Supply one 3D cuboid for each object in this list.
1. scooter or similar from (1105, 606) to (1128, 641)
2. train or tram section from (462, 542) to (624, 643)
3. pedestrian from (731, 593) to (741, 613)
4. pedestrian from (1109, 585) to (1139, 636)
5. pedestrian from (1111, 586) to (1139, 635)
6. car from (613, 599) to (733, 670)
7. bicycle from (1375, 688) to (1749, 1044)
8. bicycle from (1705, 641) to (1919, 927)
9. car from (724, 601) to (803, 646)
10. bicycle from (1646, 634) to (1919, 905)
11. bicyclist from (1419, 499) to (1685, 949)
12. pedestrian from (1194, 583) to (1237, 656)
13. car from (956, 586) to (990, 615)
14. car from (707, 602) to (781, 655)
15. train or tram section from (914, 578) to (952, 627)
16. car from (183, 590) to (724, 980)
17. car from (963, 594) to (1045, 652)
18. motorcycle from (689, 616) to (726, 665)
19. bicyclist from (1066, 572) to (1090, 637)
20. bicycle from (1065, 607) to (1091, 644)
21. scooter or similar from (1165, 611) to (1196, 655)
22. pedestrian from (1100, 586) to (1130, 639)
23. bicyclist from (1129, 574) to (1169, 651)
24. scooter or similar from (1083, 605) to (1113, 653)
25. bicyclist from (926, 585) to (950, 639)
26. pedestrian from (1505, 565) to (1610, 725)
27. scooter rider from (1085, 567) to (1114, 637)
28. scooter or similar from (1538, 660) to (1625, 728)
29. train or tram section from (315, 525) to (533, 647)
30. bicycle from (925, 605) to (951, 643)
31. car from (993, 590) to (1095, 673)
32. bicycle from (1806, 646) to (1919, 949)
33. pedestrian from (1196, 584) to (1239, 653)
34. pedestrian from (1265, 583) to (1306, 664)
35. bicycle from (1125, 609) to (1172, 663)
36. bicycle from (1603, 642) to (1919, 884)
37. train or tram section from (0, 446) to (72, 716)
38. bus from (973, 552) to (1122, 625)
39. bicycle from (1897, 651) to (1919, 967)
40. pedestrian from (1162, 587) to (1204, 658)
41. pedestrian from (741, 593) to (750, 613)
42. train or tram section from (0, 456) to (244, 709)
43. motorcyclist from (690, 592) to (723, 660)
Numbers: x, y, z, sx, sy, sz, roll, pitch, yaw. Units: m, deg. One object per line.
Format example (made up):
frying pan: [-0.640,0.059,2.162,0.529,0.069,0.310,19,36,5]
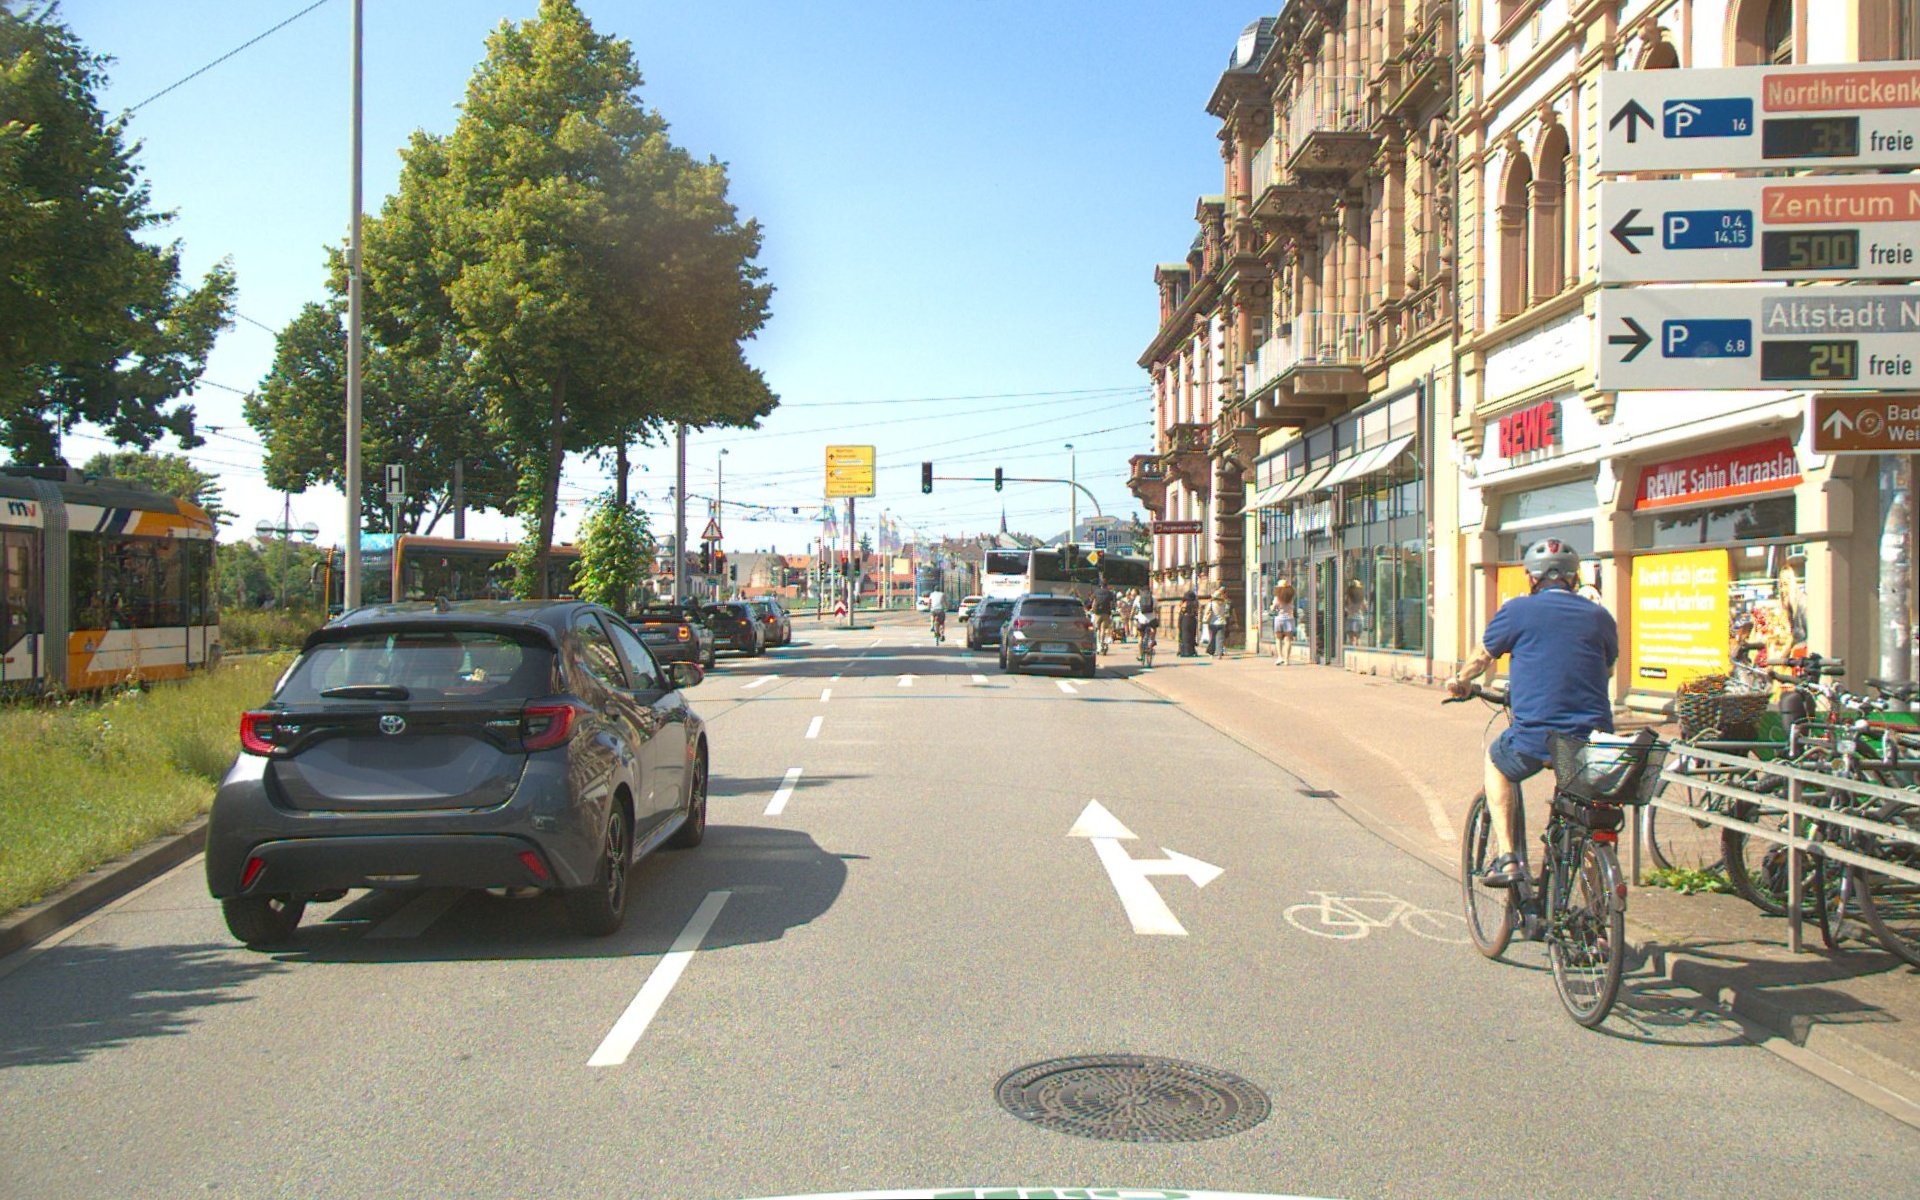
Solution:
scooter or similar: [5.003,0.750,52.822,0.588,1.066,0.799,2,-1,-3]
train or tram section: [-15.947,-0.211,63.939,2.762,3.644,8.232,-1,-1,12]
pedestrian: [-16.177,0.197,119.444,0.546,1.440,0.636,2,-1,-3]
pedestrian: [5.416,0.337,54.692,0.845,1.669,0.875,0,0,-2]
pedestrian: [5.755,0.351,57.701,0.845,1.669,0.875,2,-1,-2]
car: [-6.002,0.711,35.024,1.778,1.355,4.000,2,-1,0]
bicycle: [2.302,0.962,6.610,0.719,1.112,1.910,2,-1,-2]
bicycle: [4.329,0.795,7.447,1.659,1.199,0.608,-1,0,0]
car: [-6.117,0.713,51.926,1.995,1.355,4.000,0,0,0]
bicycle: [4.333,0.800,8.102,1.659,1.199,0.608,-2,0,0]
bicyclist: [2.321,0.463,6.581,0.674,1.644,0.918,2,-1,-2]
pedestrian: [5.939,0.454,38.474,0.845,1.669,0.875,0,0,-2]
car: [0.740,0.058,94.581,1.820,1.533,4.000,2,-1,0]
car: [-5.730,0.733,44.124,1.422,1.323,4.000,0,0,0]
train or tram section: [-2.223,0.208,138.305,2.764,3.843,8.227,2,0,1]
car: [-2.290,0.750,8.571,1.742,1.501,3.997,-1,-1,-3]
car: [1.205,0.632,46.882,1.954,1.519,3.997,2,-1,-3]
motorcycle: [-6.056,0.960,39.721,0.684,1.082,1.908,-2,0,-3]
bicyclist: [3.694,0.150,51.868,0.674,1.996,0.778,2,-1,2]
bicycle: [3.685,0.790,51.919,0.719,1.112,1.898,2,-1,2]
scooter or similar: [5.391,0.802,40.508,0.588,1.066,0.799,2,-1,-3]
pedestrian: [5.014,0.410,53.556,0.845,1.669,0.875,2,-1,-2]
bicyclist: [4.034,0.271,35.308,0.674,1.604,1.049,2,-1,-1]
scooter or similar: [3.556,0.743,42.646,0.674,1.188,1.464,2,-1,2]
bicyclist: [-0.675,0.374,50.277,0.674,1.604,1.049,2,-1,-2]
pedestrian: [6.611,0.496,18.325,0.740,1.684,0.837,-3,-1,-2]
scooter rider: [3.593,0.056,42.693,0.674,1.759,0.778,2,-1,2]
scooter or similar: [6.677,1.005,17.793,0.677,0.661,0.565,-4,-1,-2]
train or tram section: [-17.474,-0.352,54.894,2.762,3.644,10.039,-1,-1,8]
bicycle: [-0.684,0.714,50.326,0.719,1.112,1.897,2,-1,-2]
car: [1.644,0.622,33.399,1.835,1.519,4.000,2,-1,0]
bicycle: [4.453,0.808,6.853,1.659,1.199,0.469,1,-1,-1]
pedestrian: [6.379,0.452,40.984,0.845,1.669,0.875,2,-1,-2]
pedestrian: [6.696,0.473,34.009,0.641,1.649,0.815,-1,0,-2]
bicycle: [4.019,0.761,35.434,0.719,1.112,1.897,2,-1,-1]
bicycle: [4.346,0.836,8.734,1.658,1.199,0.608,-1,0,0]
train or tram section: [-14.189,-0.307,20.528,2.560,3.644,6.896,2,-1,-1]
bus: [3.924,-0.439,71.546,2.913,2.825,8.626,1,-1,29]
bicycle: [4.492,0.812,6.231,1.659,1.199,0.469,1,-1,-1]
pedestrian: [5.383,0.547,39.963,0.845,1.669,0.875,2,-1,-2]
pedestrian: [-15.524,0.219,119.460,0.546,1.440,0.636,2,-1,-3]
train or tram section: [-14.310,-0.247,27.022,2.560,3.644,6.016,2,-1,-1]
motorcyclist: [-6.066,0.630,39.647,0.675,1.583,0.717,-2,-2,-4]
